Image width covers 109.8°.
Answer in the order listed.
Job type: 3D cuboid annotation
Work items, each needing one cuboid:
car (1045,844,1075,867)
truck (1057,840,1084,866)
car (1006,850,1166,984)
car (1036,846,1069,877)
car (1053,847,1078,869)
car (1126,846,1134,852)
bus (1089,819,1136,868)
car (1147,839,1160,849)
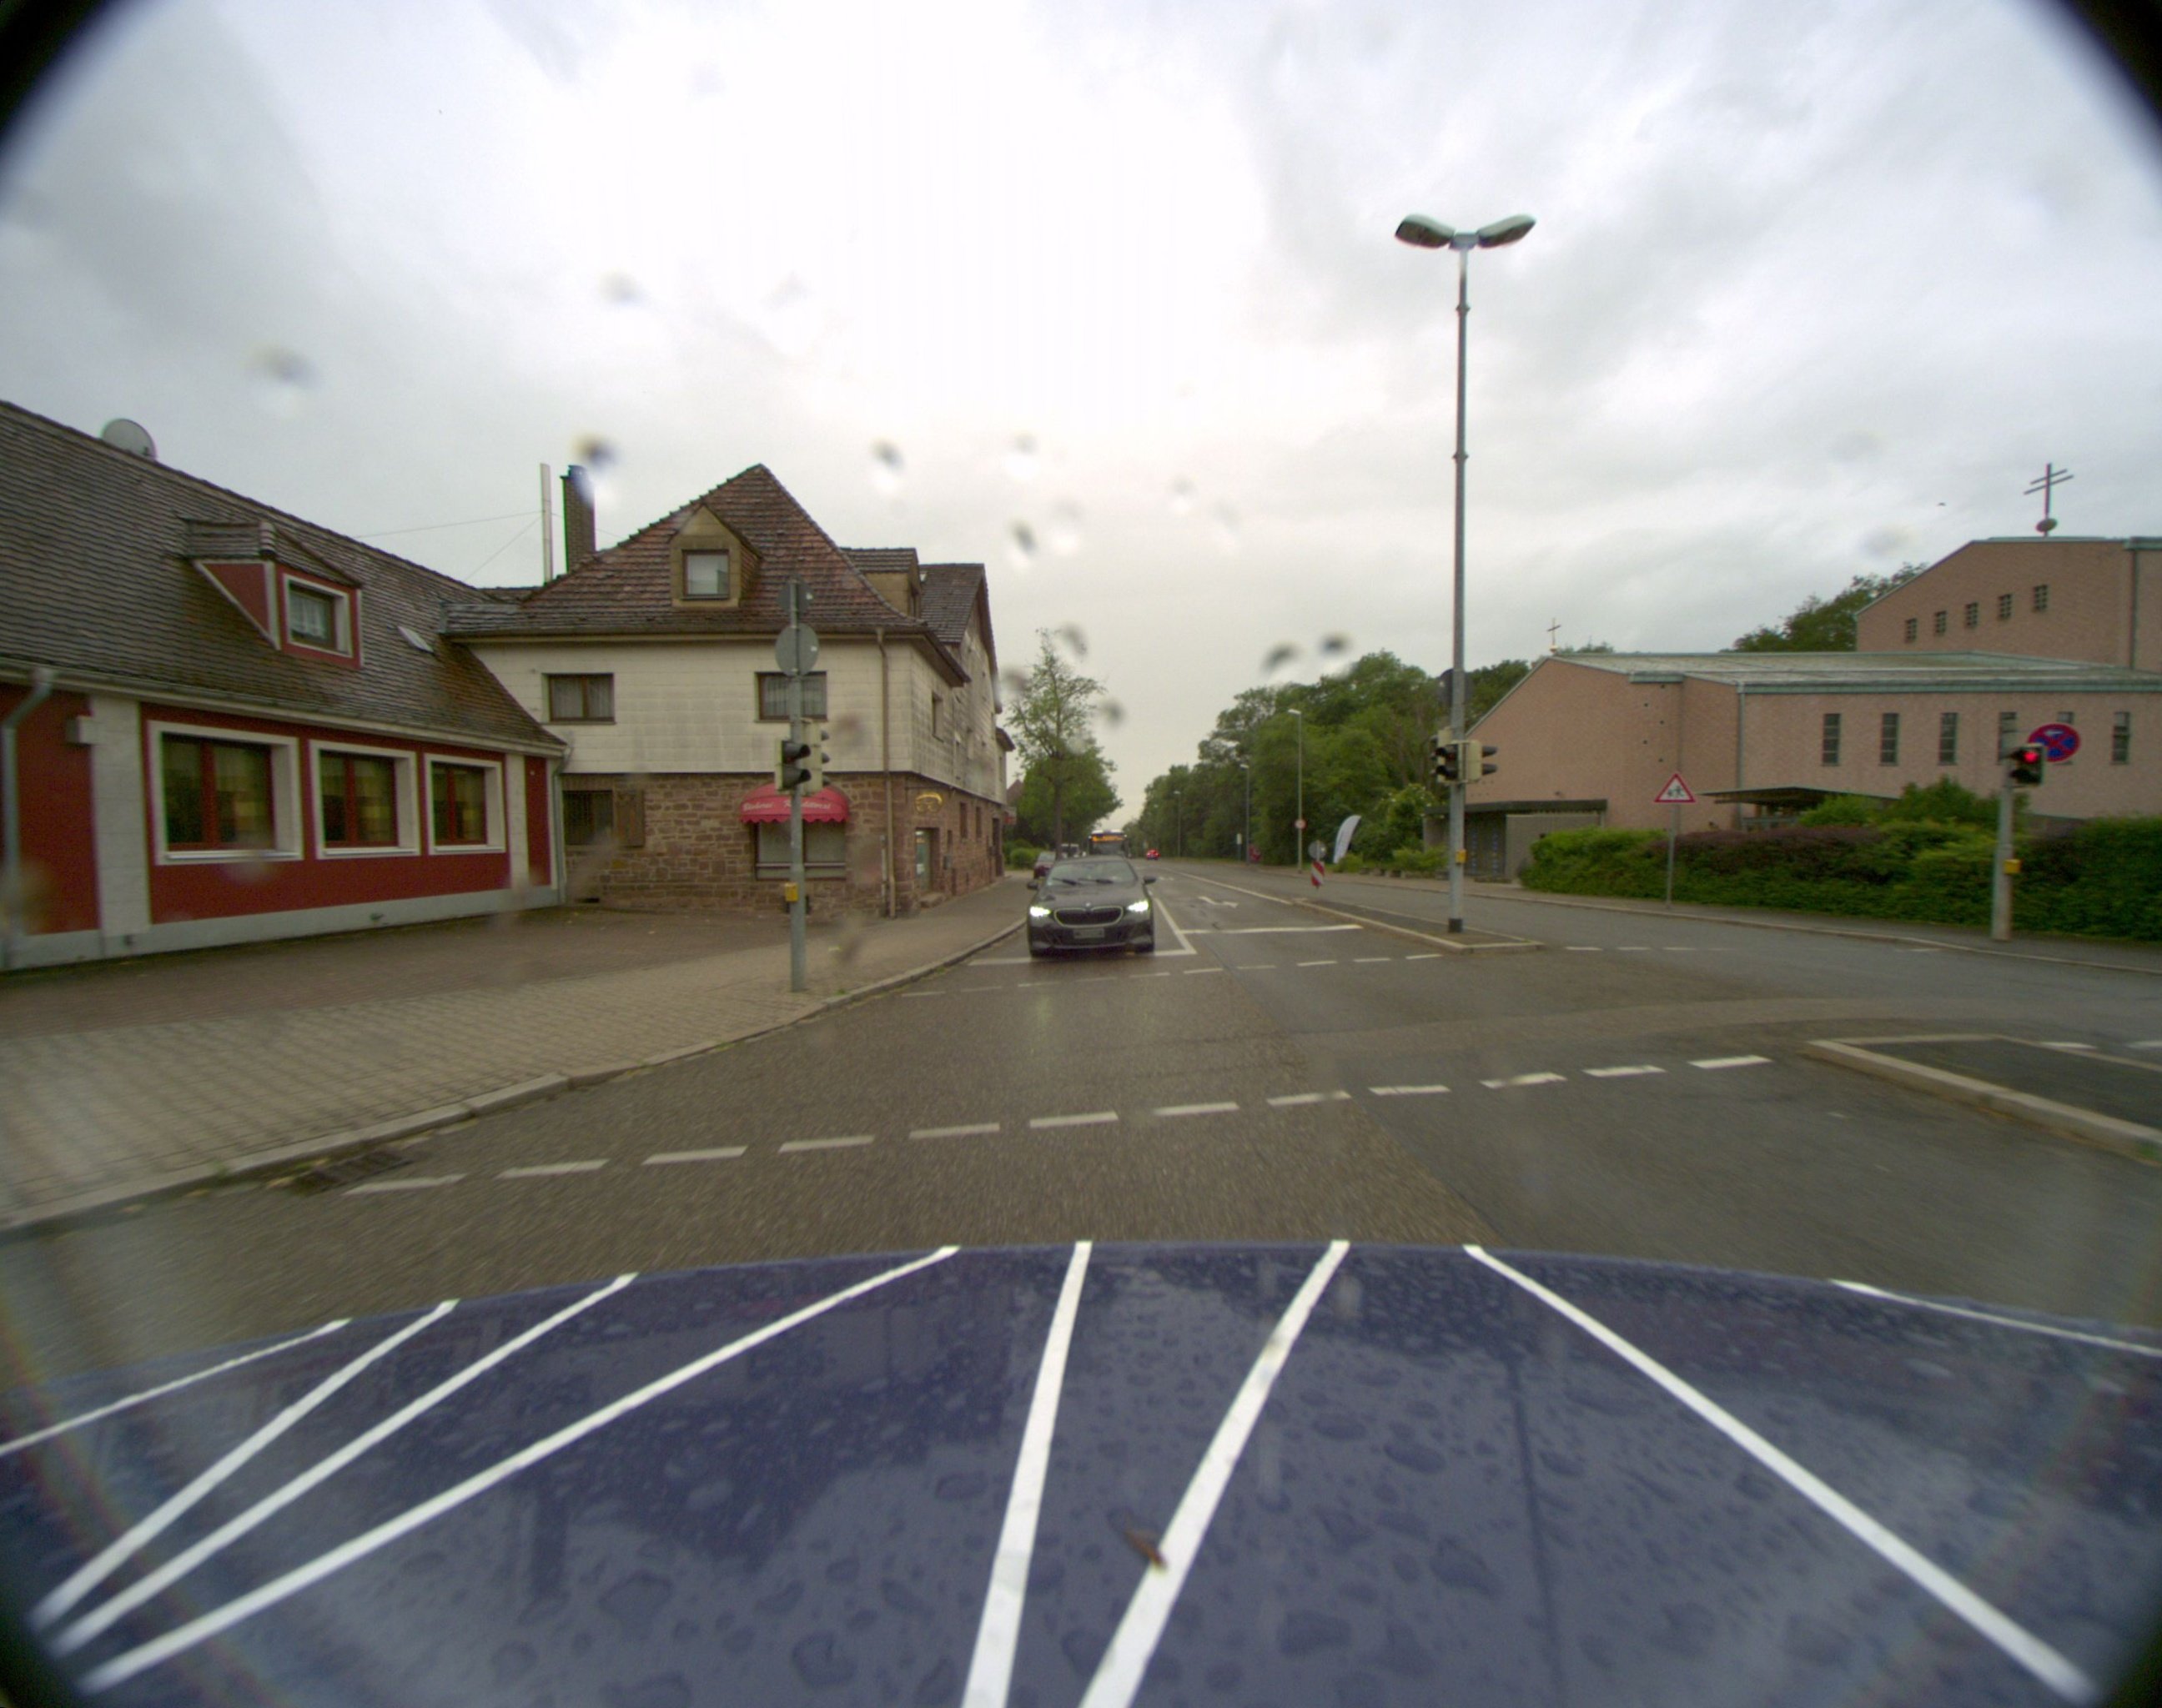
[{"bbox_3d":[-1.363,0.042,51.050,1.719,1.416,4.000,1,2,2],"label":"car"},{"bbox_3d":[-0.867,-0.139,66.190,1.998,2.184,5.756,0,1,3],"label":"truck"},{"bbox_3d":[0.153,0.768,11.500,1.882,1.520,4.316,-3,1,2],"label":"car"},{"bbox_3d":[-1.484,0.412,40.830,1.614,1.495,3.757,-2,-1,0],"label":"car"},{"bbox_3d":[-1.100,0.257,56.378,1.720,1.456,3.999,1,2,1],"label":"car"},{"bbox_3d":[12.914,-1.311,200.197,1.915,1.446,4.947,3,1,1],"label":"car"},{"bbox_3d":[2.176,-0.733,50.984,2.767,2.858,9.403,-2,1,3],"label":"bus"},{"bbox_3d":[12.365,-1.671,129.867,1.913,1.581,4.316,-1,1,0],"label":"car"}]
